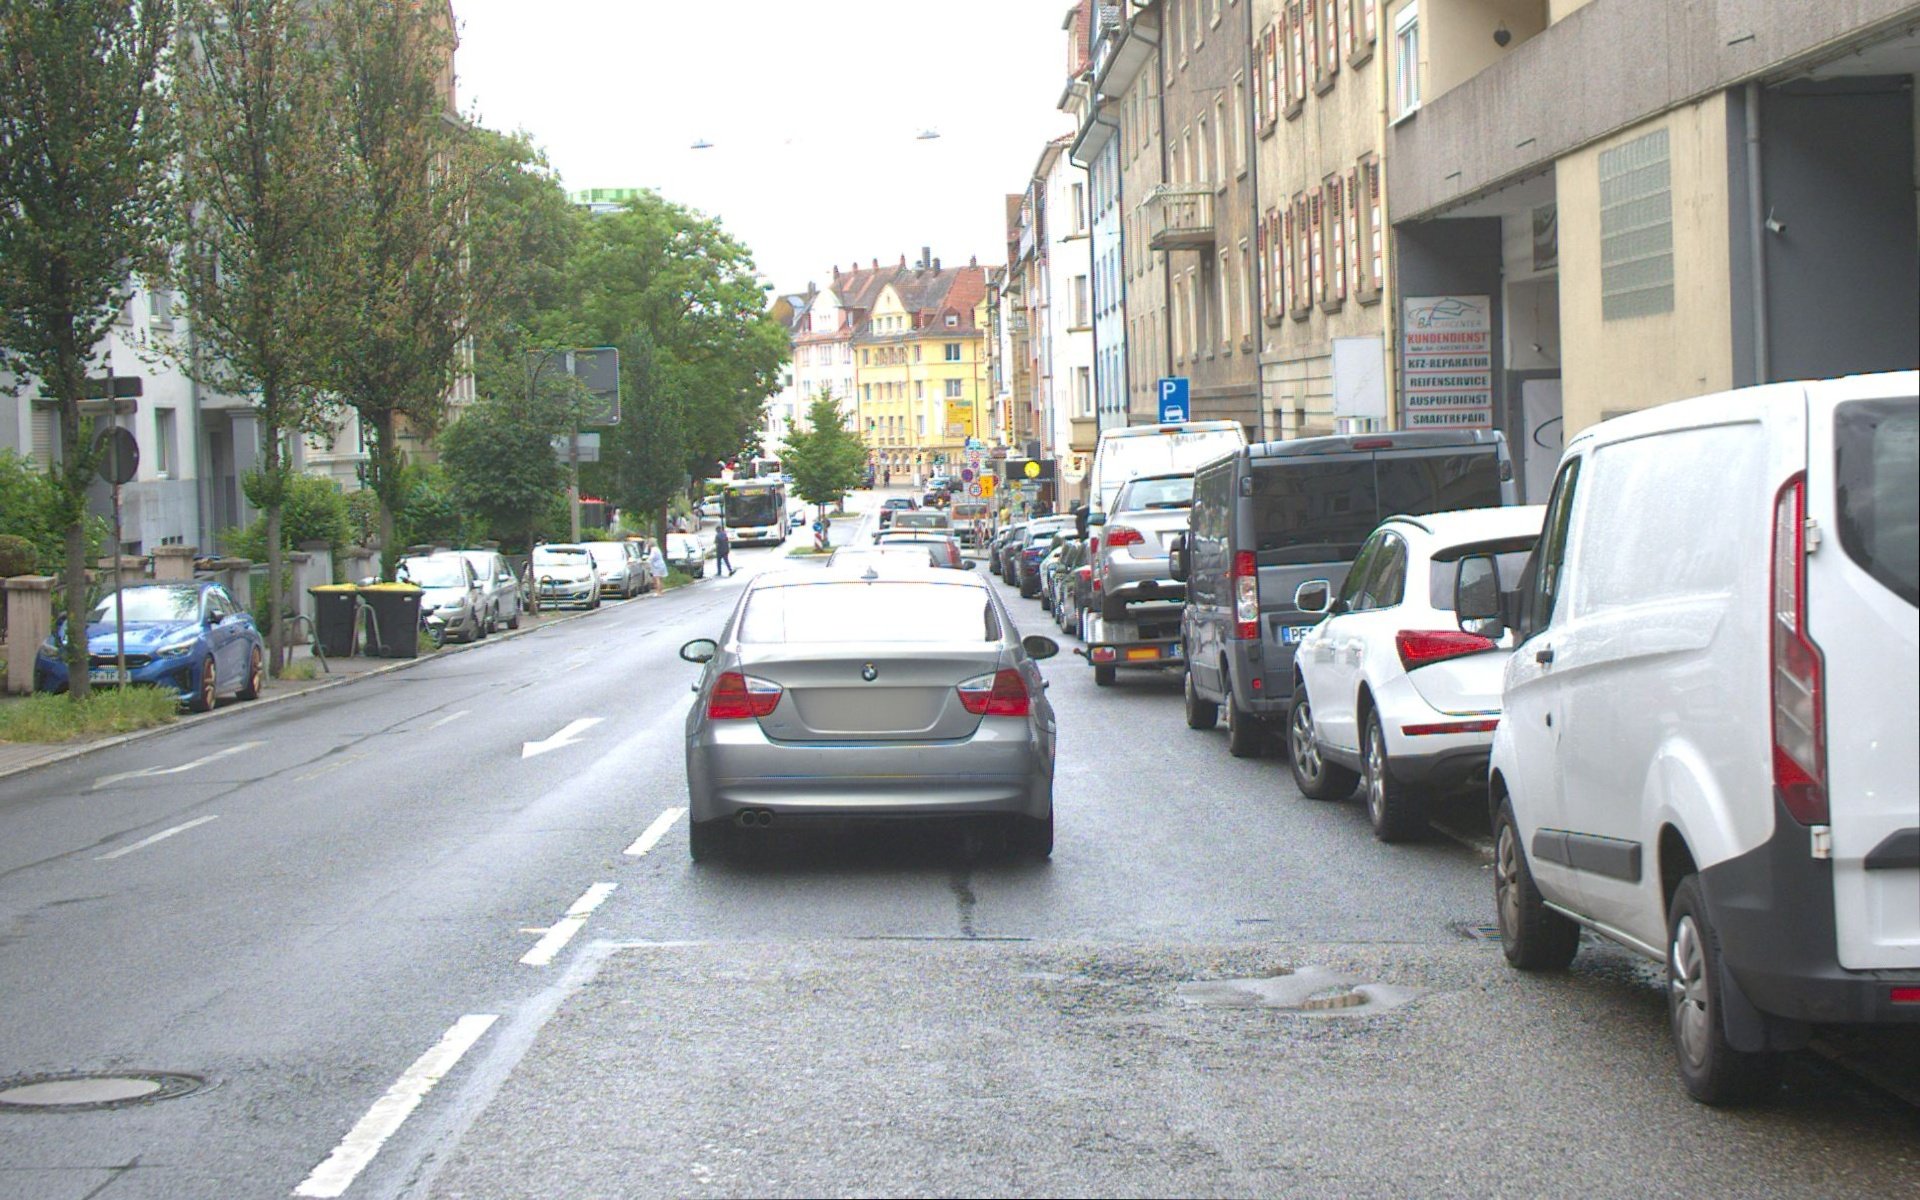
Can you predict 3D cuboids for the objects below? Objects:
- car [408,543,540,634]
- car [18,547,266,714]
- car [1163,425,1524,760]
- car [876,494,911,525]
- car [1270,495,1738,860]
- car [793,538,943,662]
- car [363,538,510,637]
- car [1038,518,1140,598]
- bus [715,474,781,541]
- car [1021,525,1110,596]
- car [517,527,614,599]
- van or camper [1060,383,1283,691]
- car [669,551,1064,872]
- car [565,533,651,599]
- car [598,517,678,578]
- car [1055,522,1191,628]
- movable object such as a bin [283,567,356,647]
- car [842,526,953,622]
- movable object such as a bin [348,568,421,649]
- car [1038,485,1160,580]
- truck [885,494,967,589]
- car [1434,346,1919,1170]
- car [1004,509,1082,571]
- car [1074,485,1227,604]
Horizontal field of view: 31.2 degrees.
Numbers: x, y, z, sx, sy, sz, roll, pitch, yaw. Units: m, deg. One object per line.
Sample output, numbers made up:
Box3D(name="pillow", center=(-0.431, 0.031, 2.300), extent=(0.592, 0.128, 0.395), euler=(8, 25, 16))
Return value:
Box3D(name="car", center=(-9.049, -0.246, 64.287), extent=(1.827, 1.518, 3.736), euler=(-3, 1, 0))
Box3D(name="car", center=(-8.826, 0.280, 37.399), extent=(1.766, 1.588, 4.001), euler=(-3, 1, -2))
Box3D(name="car", center=(2.712, -0.095, 25.404), extent=(1.982, 2.158, 4.750), euler=(-3, 1, -1))
Box3D(name="car", center=(-3.444, -4.664, 177.505), extent=(1.697, 1.478, 3.794), euler=(-3, 1, -1))
Box3D(name="car", center=(2.793, 0.328, 18.570), extent=(1.726, 1.664, 4.289), euler=(-3, 1, -1))
Box3D(name="car", center=(-1.065, -0.024, 41.343), extent=(1.682, 1.423, 3.741), euler=(0, 1, 0))
Box3D(name="car", center=(-8.915, -0.238, 58.780), extent=(1.827, 1.518, 3.736), euler=(-3, 1, 0))
Box3D(name="car", center=(2.442, -0.805, 65.803), extent=(1.697, 1.478, 3.976), euler=(0, 1, -1))
Box3D(name="bus", center=(-10.212, -4.444, 166.289), extent=(2.668, 3.013, 7.671), euler=(-3, 1, -1))
Box3D(name="car", center=(2.242, -0.851, 73.968), extent=(1.697, 1.478, 3.976), euler=(0, 1, -1))
Box3D(name="car", center=(-9.080, -0.872, 79.288), extent=(1.691, 1.518, 3.736), euler=(-3, 1, 0))
Box3D(name="van or camper", center=(2.174, -0.674, 35.906), extent=(2.033, 2.859, 6.885), euler=(1, 1, 3))
Box3D(name="car", center=(-0.406, 0.474, 17.273), extent=(1.769, 1.423, 3.741), euler=(0, 1, 0))
Box3D(name="car", center=(-8.835, -0.877, 86.533), extent=(1.691, 1.518, 3.736), euler=(-3, 1, 0))
Box3D(name="car", center=(-8.650, -1.435, 92.627), extent=(1.691, 1.518, 3.736), euler=(-3, 1, 0))
Box3D(name="car", center=(2.324, -0.372, 49.819), extent=(1.697, 1.478, 3.976), euler=(0, 1, -1))
Box3D(name="movable object such as a bin", center=(-9.553, 0.096, 51.292), extent=(0.902, 1.164, 0.895), euler=(-1, 1, -1))
Box3D(name="car", center=(-0.999, -0.419, 54.580), extent=(1.697, 1.478, 3.794), euler=(0, 1, -1))
Box3D(name="movable object such as a bin", center=(-8.581, 0.117, 51.297), extent=(0.935, 1.164, 0.909), euler=(-1, 1, -1))
Box3D(name="car", center=(2.205, -1.068, 55.365), extent=(1.697, 1.478, 3.976), euler=(0, 1, -1))
Box3D(name="truck", center=(-0.906, -1.508, 89.043), extent=(2.032, 2.404, 4.827), euler=(0, 1, -1))
Box3D(name="car", center=(2.863, 0.310, 10.748), extent=(1.982, 2.000, 4.625), euler=(-3, 1, -1))
Box3D(name="car", center=(1.997, -1.460, 83.776), extent=(1.697, 1.478, 3.976), euler=(0, 1, -1))
Box3D(name="car", center=(2.443, -0.717, 44.785), extent=(1.697, 1.478, 3.794), euler=(0, 1, -1))
